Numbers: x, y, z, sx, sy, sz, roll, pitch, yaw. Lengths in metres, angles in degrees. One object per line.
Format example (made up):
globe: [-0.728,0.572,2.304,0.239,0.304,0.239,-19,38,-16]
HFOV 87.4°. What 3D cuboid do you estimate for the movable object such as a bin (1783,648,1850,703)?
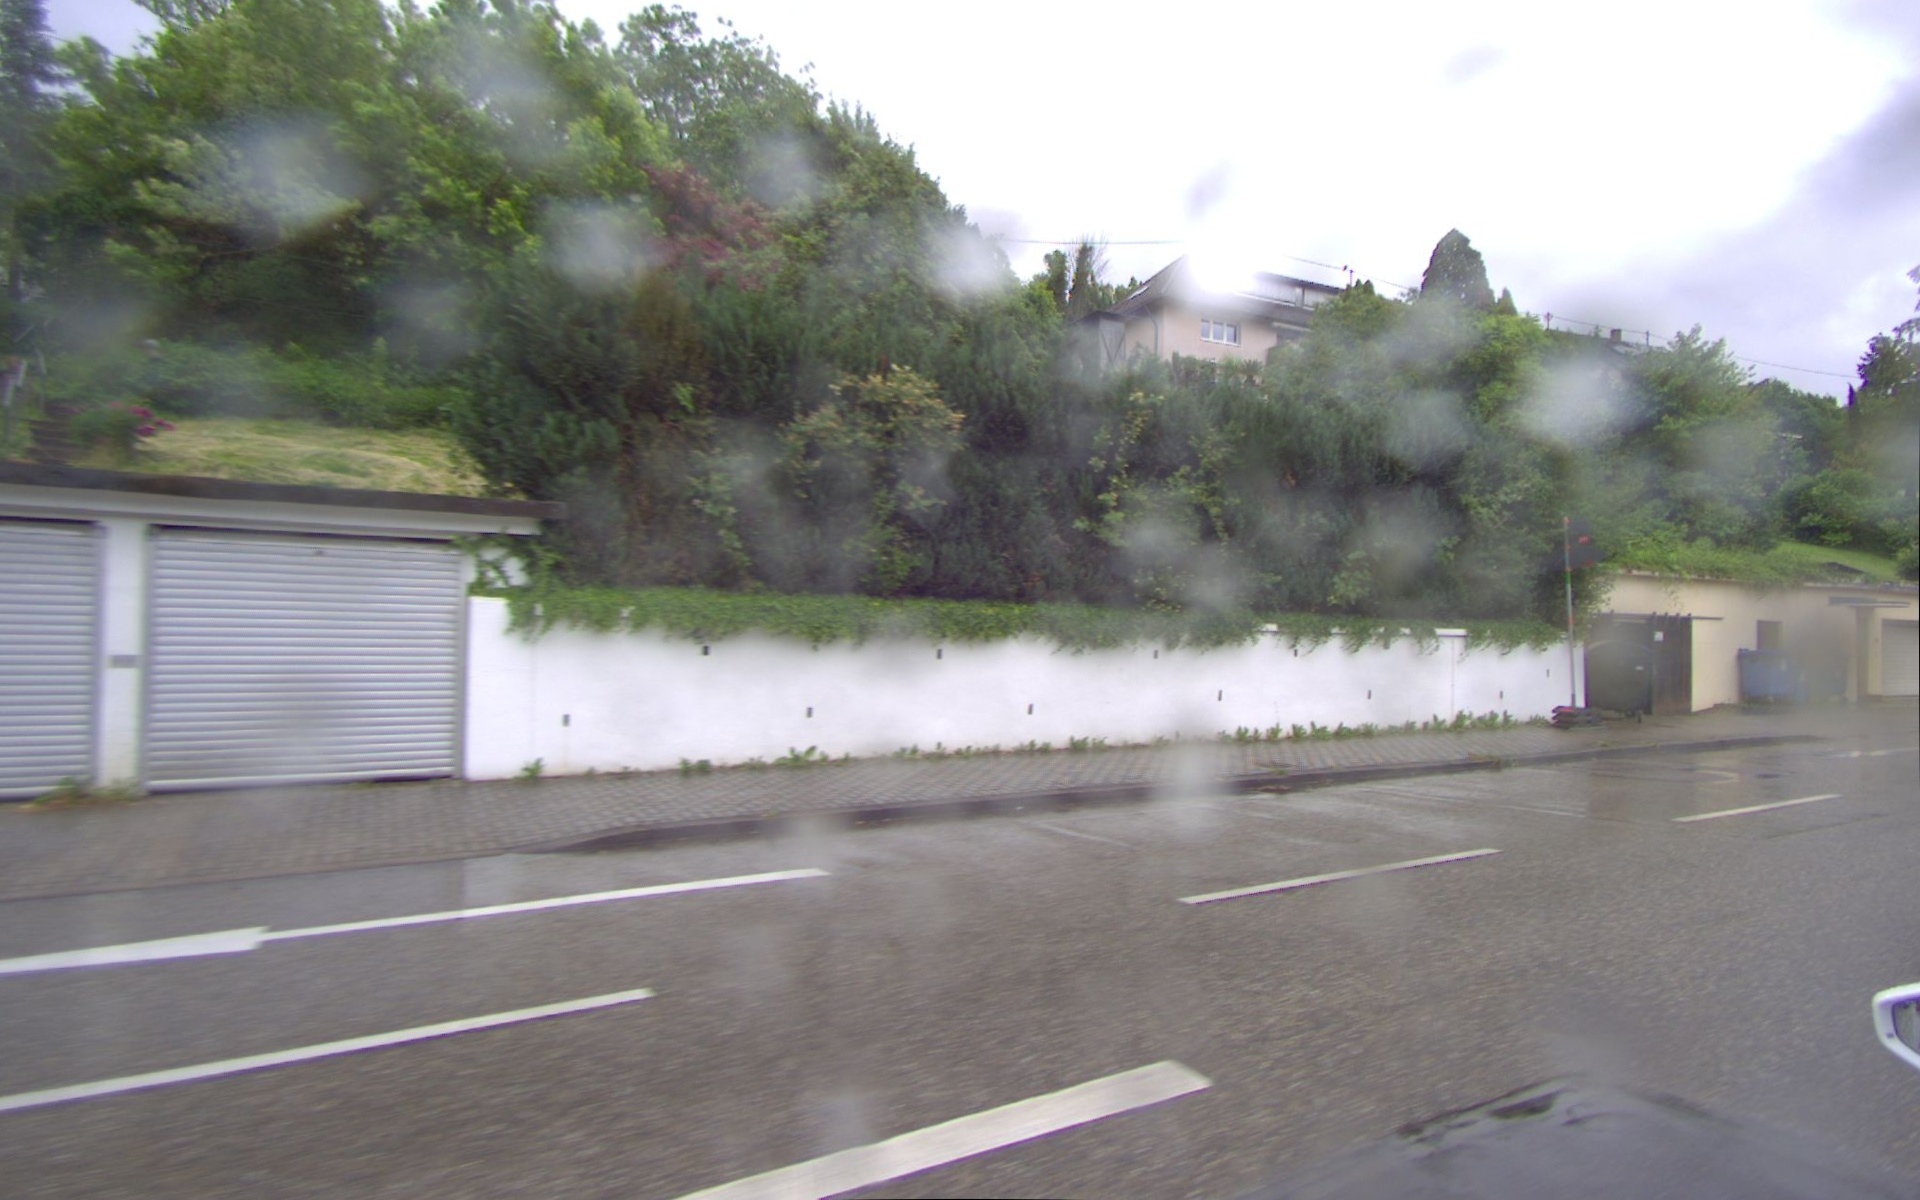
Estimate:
movable object such as a bin: [21.818,1.896,25.599,1.383,1.332,0.818,1,-1,-25]

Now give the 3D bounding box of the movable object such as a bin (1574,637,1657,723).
movable object such as a bin: [11.977,1.455,18.365,0.852,1.464,0.928,3,1,-30]

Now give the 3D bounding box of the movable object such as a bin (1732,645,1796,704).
movable object such as a bin: [19.723,1.805,24.646,1.119,1.400,0.818,1,-1,-25]

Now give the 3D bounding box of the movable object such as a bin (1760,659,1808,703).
movable object such as a bin: [20.602,2.024,25.118,0.599,1.056,0.733,2,-1,-25]
